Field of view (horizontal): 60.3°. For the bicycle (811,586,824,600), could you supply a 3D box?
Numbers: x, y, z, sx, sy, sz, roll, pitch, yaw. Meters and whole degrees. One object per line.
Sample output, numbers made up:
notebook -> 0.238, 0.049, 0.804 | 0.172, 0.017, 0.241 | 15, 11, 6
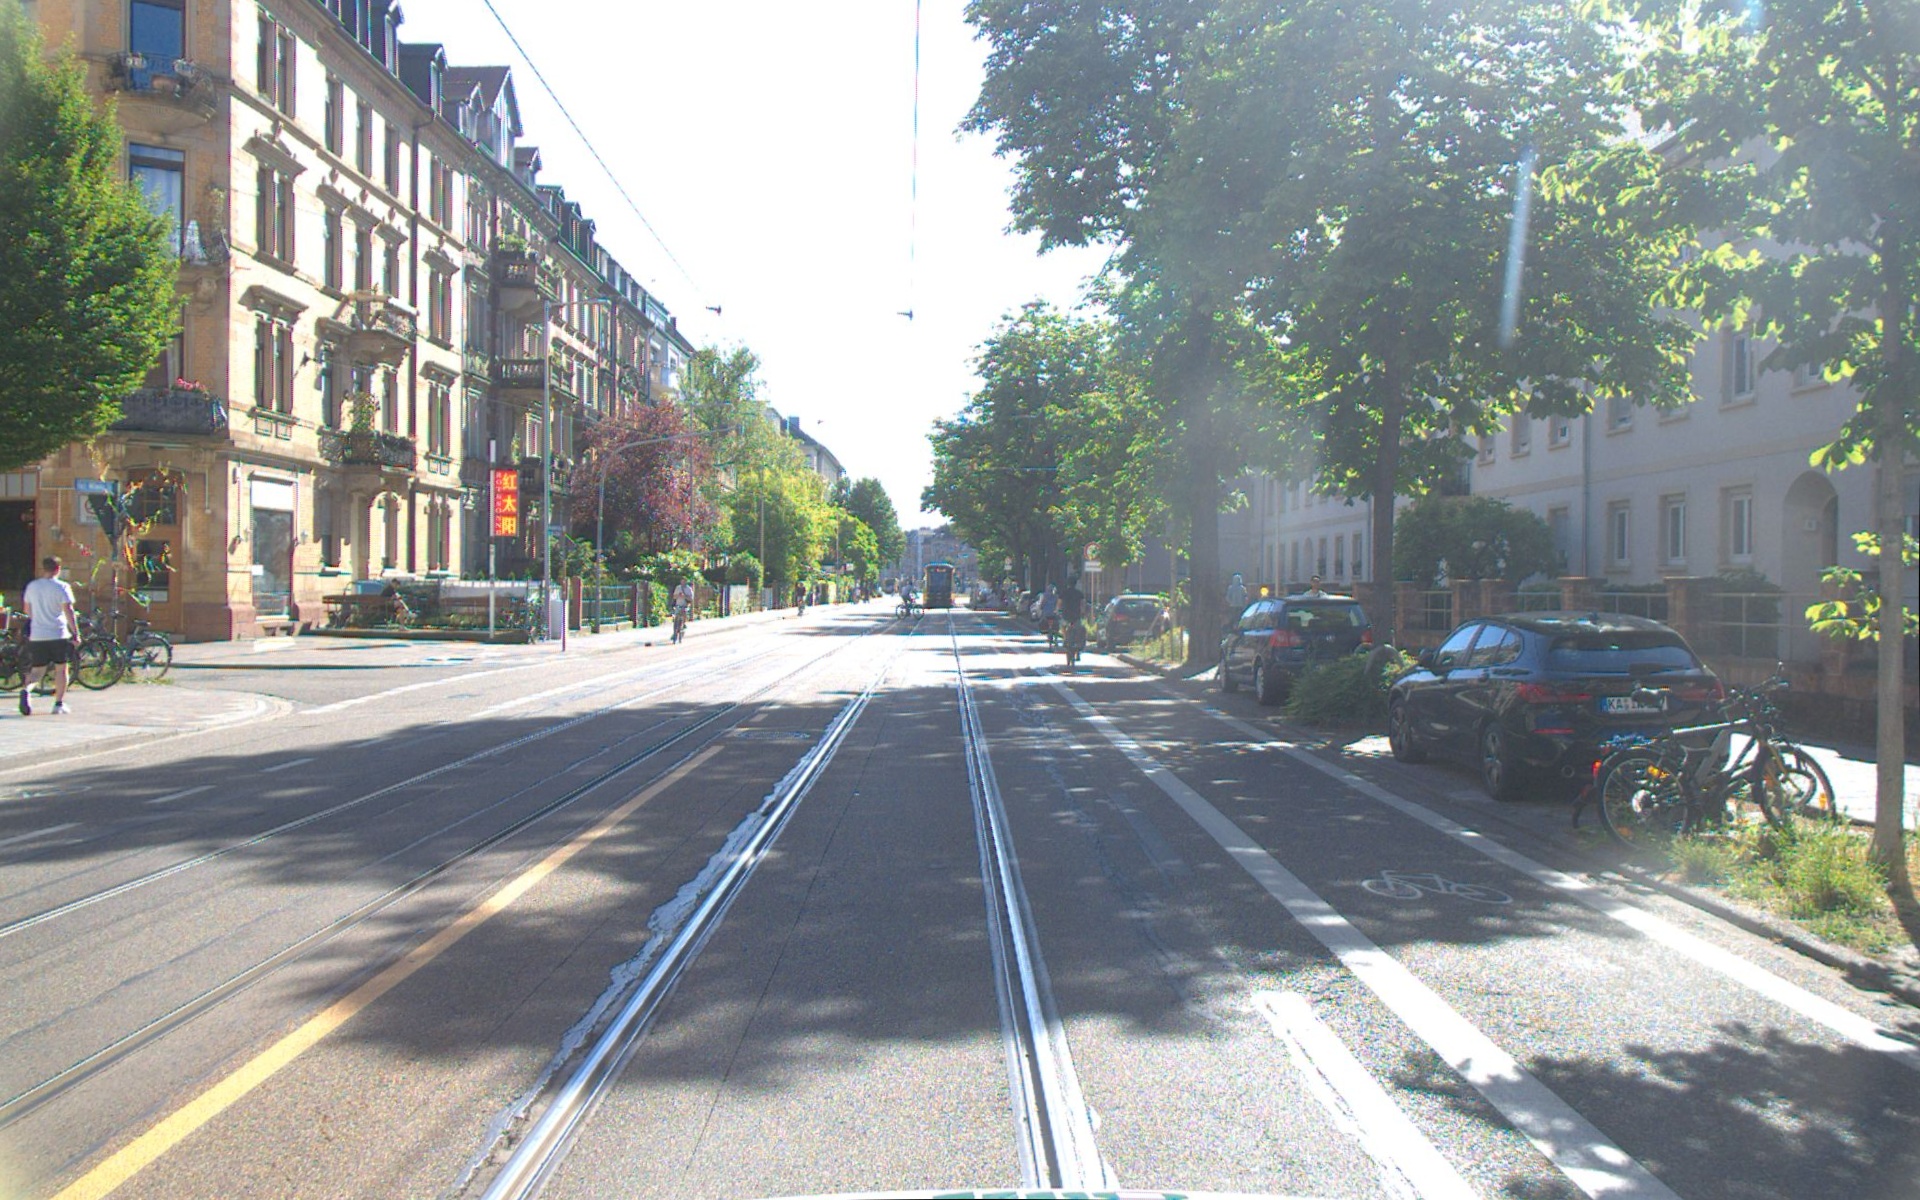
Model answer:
bicycle -> -11.327, -0.566, 131.209 | 0.623, 1.088, 1.823 | 2, 0, -17

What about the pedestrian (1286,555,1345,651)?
pedestrian -> 6.801, 0.059, 31.670 | 0.593, 1.801, 0.903 | -2, 1, -31

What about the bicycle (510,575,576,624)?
bicycle -> -11.972, -0.008, 47.510 | 1.730, 1.343, 0.612 | 2, 0, -10

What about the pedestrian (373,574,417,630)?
pedestrian -> -14.414, 0.050, 42.190 | 0.882, 1.376, 0.577 | -1, 0, 1

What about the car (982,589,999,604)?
car -> 3.297, -0.363, 181.730 | 1.718, 1.579, 3.676 | 2, 0, -1

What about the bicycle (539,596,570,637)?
bicycle -> -10.560, 0.426, 43.068 | 0.328, 1.018, 1.869 | 2, 0, 0

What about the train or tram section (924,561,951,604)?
train or tram section -> -1.898, -1.450, 138.872 | 2.110, 3.491, 6.610 | 2, 0, -1

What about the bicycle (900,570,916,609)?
bicycle -> -2.605, -0.511, 82.489 | 0.649, 1.891, 2.260 | 2, 0, 1

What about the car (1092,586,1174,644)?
car -> 4.638, 0.376, 44.748 | 1.751, 1.489, 4.044 | 0, 0, -1

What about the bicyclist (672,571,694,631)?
bicyclist -> -7.717, 0.034, 46.093 | 0.455, 1.647, 0.744 | -1, 0, -1

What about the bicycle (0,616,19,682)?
bicycle -> -14.150, 0.688, 23.425 | 0.609, 0.930, 1.289 | 0, -2, 37

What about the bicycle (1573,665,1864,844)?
bicycle -> 5.083, 1.028, 11.125 | 1.725, 1.096, 0.433 | 2, 0, 0

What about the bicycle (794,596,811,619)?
bicycle -> -7.961, 0.377, 83.498 | 0.677, 1.132, 1.718 | -1, 0, -1

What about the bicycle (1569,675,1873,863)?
bicycle -> 4.881, 1.075, 10.650 | 1.725, 1.096, 0.433 | 2, 0, 0

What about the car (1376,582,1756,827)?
car -> 5.010, 0.753, 14.334 | 1.632, 1.791, 4.230 | 1, 0, -2

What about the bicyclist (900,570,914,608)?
bicyclist -> -2.614, -0.553, 82.176 | 0.632, 1.827, 0.955 | 2, 0, -1

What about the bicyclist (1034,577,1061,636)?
bicyclist -> 2.291, 0.167, 43.483 | 0.622, 1.493, 0.616 | 2, 0, -1

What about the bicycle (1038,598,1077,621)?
bicycle -> 4.563, 0.444, 77.153 | 1.756, 1.037, 0.620 | -2, 0, -1

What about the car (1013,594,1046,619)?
car -> 4.105, 0.391, 98.626 | 1.713, 1.445, 3.999 | 0, 1, -1

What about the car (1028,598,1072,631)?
car -> 4.325, 0.682, 80.031 | 1.596, 1.461, 4.661 | 0, 1, -4

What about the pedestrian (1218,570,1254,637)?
pedestrian -> 7.324, 0.089, 43.877 | 0.748, 1.754, 0.579 | 2, 0, 29

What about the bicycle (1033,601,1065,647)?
bicycle -> 2.323, 0.626, 43.337 | 0.677, 1.132, 1.917 | 2, 0, -1

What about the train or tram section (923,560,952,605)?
train or tram section -> -1.806, -1.387, 132.223 | 2.110, 3.491, 6.610 | 2, 0, -1

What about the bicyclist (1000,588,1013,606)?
bicyclist -> 3.442, -0.239, 123.058 | 0.756, 1.314, 0.734 | 2, 0, 15

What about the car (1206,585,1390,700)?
car -> 4.830, 0.548, 24.193 | 1.685, 1.499, 4.244 | -1, 1, -2

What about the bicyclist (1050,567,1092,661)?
bicyclist -> 2.250, 0.279, 33.647 | 0.713, 1.880, 0.836 | 2, 0, -2

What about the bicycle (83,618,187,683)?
bicycle -> -12.194, 0.745, 24.461 | 1.280, 0.930, 0.613 | 2, -2, -37

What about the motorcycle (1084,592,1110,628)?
motorcycle -> 4.898, 0.345, 59.201 | 0.486, 1.211, 1.859 | -3, 1, -8

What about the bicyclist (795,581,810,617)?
bicyclist -> -7.971, -0.047, 83.531 | 0.647, 1.833, 0.616 | -1, 0, -1

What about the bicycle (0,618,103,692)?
bicycle -> -12.019, 0.696, 21.171 | 1.769, 0.930, 0.613 | 2, -2, -37

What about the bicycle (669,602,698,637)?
bicycle -> -7.719, 0.533, 46.240 | 0.451, 0.942, 2.202 | -1, 0, 0

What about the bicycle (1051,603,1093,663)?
bicycle -> 2.266, 0.656, 33.630 | 0.677, 1.132, 1.718 | 2, 0, -1

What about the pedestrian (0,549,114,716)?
pedestrian -> -9.962, 0.351, 18.109 | 0.813, 1.754, 1.081 | 2, -1, -5

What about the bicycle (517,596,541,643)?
bicycle -> -10.840, 0.478, 41.629 | 0.363, 1.146, 0.808 | 2, 0, -1
